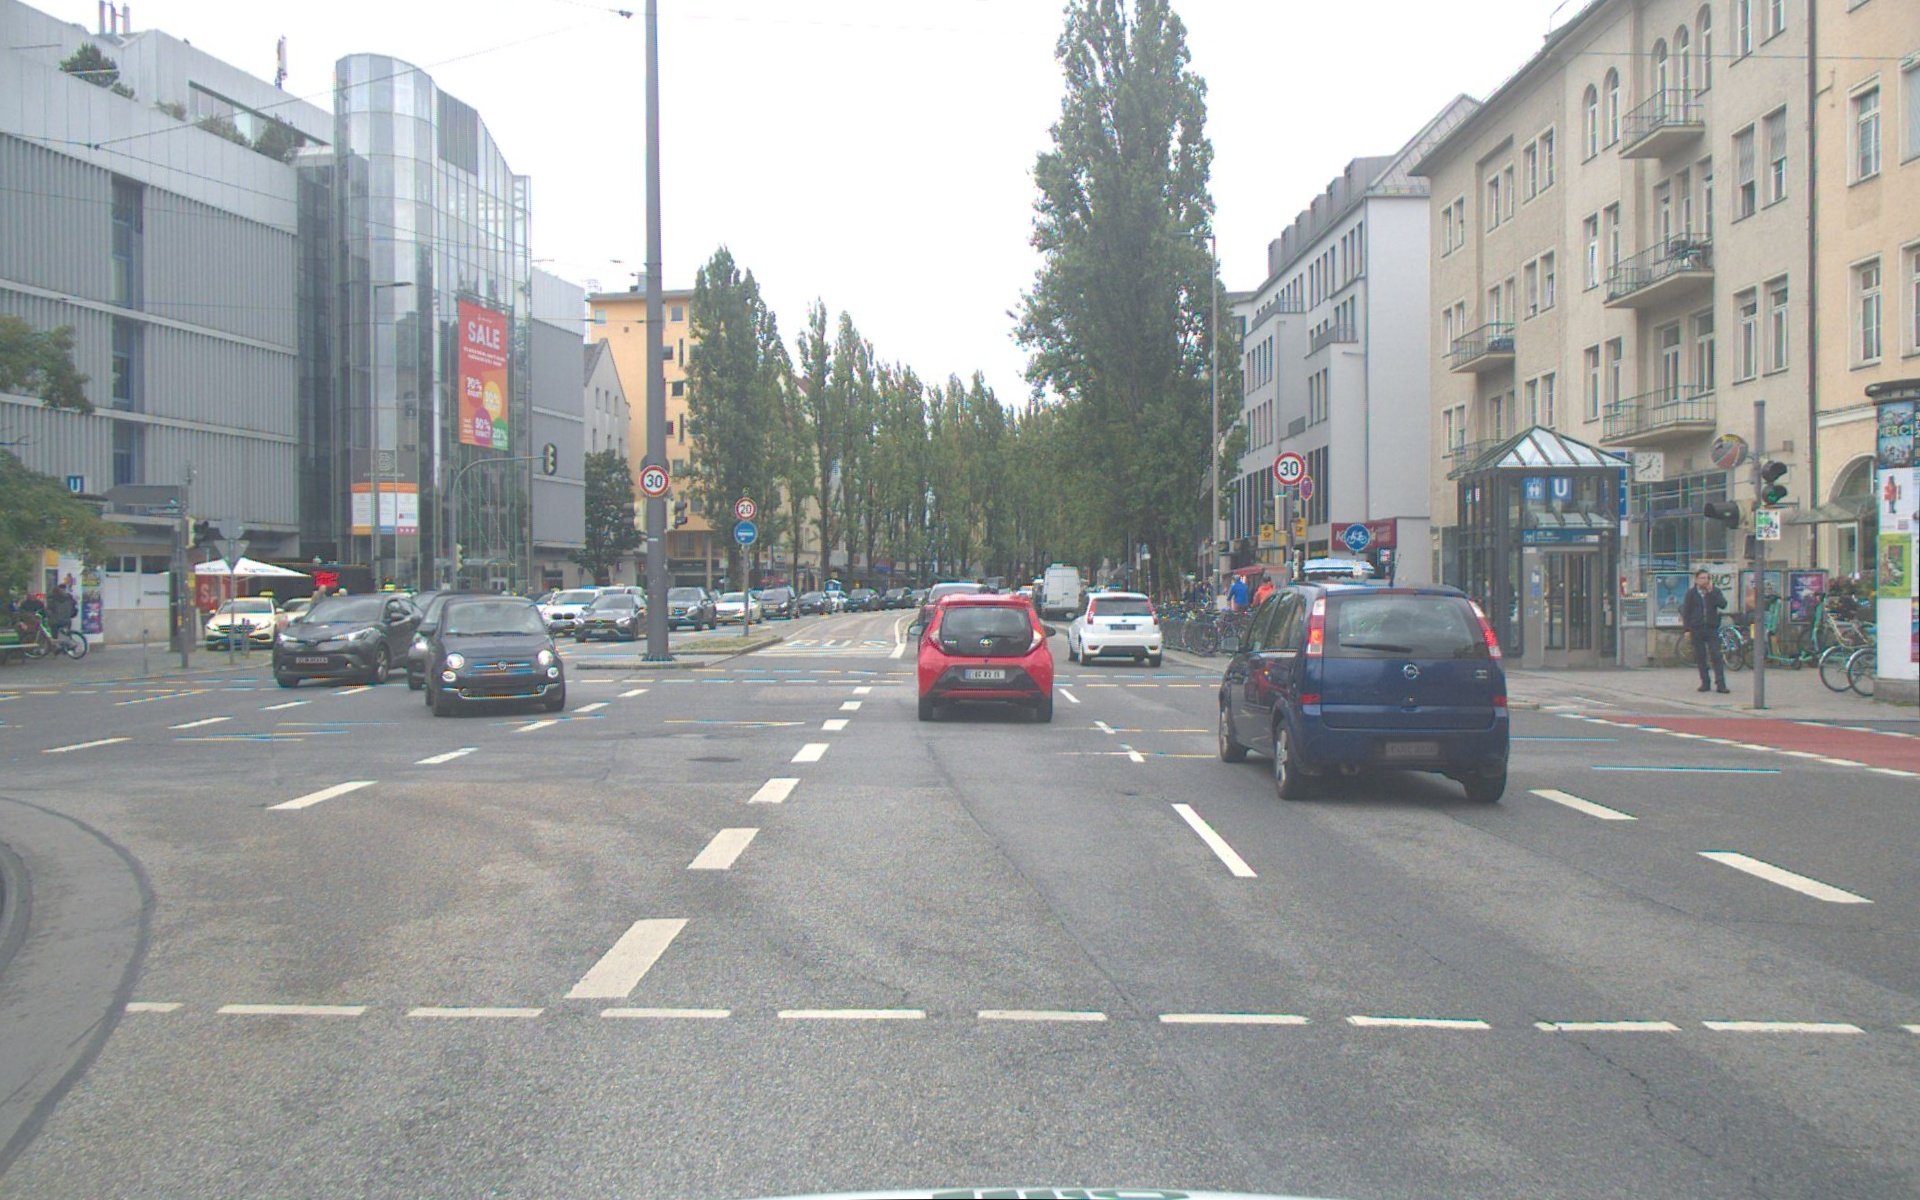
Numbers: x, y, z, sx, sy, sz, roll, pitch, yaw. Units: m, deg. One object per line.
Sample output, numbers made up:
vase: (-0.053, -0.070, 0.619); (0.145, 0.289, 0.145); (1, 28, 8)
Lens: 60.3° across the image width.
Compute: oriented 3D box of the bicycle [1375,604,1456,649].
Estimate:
bicycle: (10.379, 0.604, 37.701); (1.719, 0.981, 0.453); (-1, 0, -3)

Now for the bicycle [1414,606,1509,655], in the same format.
bicycle: (10.329, 0.628, 34.112); (1.801, 0.981, 0.508); (-1, 0, -3)

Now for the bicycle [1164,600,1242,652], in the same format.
bicycle: (5.696, 0.592, 38.750); (1.769, 1.178, 0.546); (0, 0, 37)

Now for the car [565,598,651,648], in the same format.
car: (-10.833, 0.672, 51.205); (1.954, 1.436, 4.165); (1, 1, -3)

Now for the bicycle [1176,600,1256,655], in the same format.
bicycle: (5.771, 0.607, 37.358); (1.773, 1.219, 0.555); (0, 0, 43)

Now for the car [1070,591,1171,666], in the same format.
car: (3.238, 0.549, 33.906); (1.665, 1.451, 3.496); (-1, 0, -1)

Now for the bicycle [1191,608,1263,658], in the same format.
bicycle: (5.786, 0.710, 35.843); (0.495, 1.046, 1.576); (-1, 0, -43)

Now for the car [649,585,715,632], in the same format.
car: (-10.641, 0.275, 63.573); (1.707, 1.699, 4.732); (-1, 1, 0)

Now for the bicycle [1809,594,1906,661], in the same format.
bicycle: (15.075, 0.449, 27.842); (0.485, 1.077, 1.864); (-1, 0, -5)

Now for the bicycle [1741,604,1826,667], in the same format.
bicycle: (13.834, 0.575, 27.829); (0.484, 0.992, 1.866); (-1, 0, -1)

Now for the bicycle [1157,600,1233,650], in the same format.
bicycle: (5.599, 0.586, 39.431); (1.769, 1.178, 0.546); (0, 0, 37)

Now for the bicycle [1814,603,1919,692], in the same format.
bicycle: (12.962, 0.663, 23.345); (1.536, 1.180, 0.525); (-1, 2, 2)

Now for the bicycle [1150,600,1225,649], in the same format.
bicycle: (5.617, 0.602, 40.902); (1.765, 1.178, 0.486); (0, 0, 29)

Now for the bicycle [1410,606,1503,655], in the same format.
bicycle: (10.388, 0.627, 34.645); (1.801, 0.981, 0.508); (-1, 0, -3)

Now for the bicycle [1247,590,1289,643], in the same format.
bicycle: (7.831, 0.403, 42.134); (0.601, 1.287, 2.519); (-1, 1, 0)

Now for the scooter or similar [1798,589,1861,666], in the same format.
scooter or similar: (14.506, 0.441, 27.617); (0.282, 1.249, 1.152); (-1, 0, -10)

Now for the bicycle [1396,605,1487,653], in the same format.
bicycle: (10.417, 0.621, 35.798); (1.801, 0.981, 0.508); (-1, 0, -3)

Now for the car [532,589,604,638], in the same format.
car: (-13.503, 0.430, 57.165); (1.664, 1.624, 3.999); (-1, 0, -2)

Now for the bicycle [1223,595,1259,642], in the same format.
bicycle: (8.152, 0.513, 48.042); (0.601, 1.287, 2.519); (-1, 1, 0)

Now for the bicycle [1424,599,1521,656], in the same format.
bicycle: (10.381, 0.552, 33.522); (1.801, 1.113, 0.508); (-1, 0, -3)

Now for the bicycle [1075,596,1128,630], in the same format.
bicycle: (5.000, 0.455, 58.428); (1.801, 1.156, 0.584); (0, 0, 35)

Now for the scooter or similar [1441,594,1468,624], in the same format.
scooter or similar: (16.378, 0.285, 54.803); (0.524, 0.960, 1.124); (-2, 0, -2)

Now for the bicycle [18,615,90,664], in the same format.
bicycle: (-21.502, 0.938, 39.262); (1.541, 1.131, 0.373); (0, 0, 3)

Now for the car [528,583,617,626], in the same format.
car: (-15.815, 0.161, 67.641); (1.951, 1.708, 4.187); (0, 0, 12)

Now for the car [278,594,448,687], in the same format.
car: (-10.599, 0.666, 29.678); (1.631, 1.535, 4.279); (-1, 0, -2)

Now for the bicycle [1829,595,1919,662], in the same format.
bicycle: (15.673, 0.466, 28.077); (0.486, 1.077, 1.858); (-1, 0, -16)

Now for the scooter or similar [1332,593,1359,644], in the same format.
scooter or similar: (9.370, 0.439, 40.172); (0.294, 1.196, 1.275); (-1, 0, 29)

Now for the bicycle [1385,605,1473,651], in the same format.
bicycle: (10.379, 0.615, 36.623); (1.801, 0.981, 0.508); (-1, 0, -3)

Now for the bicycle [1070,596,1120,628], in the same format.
bicycle: (4.970, 0.439, 61.157); (1.801, 1.156, 0.584); (0, 0, 35)

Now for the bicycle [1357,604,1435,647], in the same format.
bicycle: (10.390, 0.608, 39.428); (1.718, 0.981, 0.453); (-1, 0, 0)

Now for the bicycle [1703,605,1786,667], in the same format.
bicycle: (13.169, 0.587, 27.814); (0.484, 0.992, 1.866); (-1, 0, -1)

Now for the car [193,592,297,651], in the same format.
car: (-20.701, 0.584, 48.040); (1.959, 1.563, 4.400); (-2, 1, -13)

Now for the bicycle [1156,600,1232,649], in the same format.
bicycle: (5.692, 0.585, 40.243); (1.763, 1.178, 0.486); (0, 0, 25)

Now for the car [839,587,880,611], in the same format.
car: (-6.805, -0.072, 112.485); (1.951, 1.561, 4.591); (-1, 0, 8)

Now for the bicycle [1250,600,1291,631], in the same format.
bicycle: (10.042, 0.504, 53.525); (1.235, 0.980, 0.369); (-1, 0, 2)

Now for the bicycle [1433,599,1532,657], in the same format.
bicycle: (10.410, 0.556, 32.956); (1.801, 1.113, 0.508); (-1, 0, -3)

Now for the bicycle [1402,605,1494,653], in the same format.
bicycle: (10.398, 0.624, 35.239); (1.801, 0.981, 0.508); (-1, 0, -3)

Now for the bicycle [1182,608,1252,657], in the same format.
bicycle: (5.700, 0.701, 36.697); (0.495, 1.046, 1.576); (-1, 0, -43)

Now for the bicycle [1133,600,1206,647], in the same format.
bicycle: (5.428, 0.595, 42.931); (1.768, 1.178, 0.650); (0, 0, 35)

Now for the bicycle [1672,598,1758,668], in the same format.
bicycle: (12.677, 0.538, 27.825); (0.555, 1.127, 1.866); (-1, 0, -1)

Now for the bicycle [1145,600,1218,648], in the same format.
bicycle: (5.551, 0.595, 41.556); (1.765, 1.178, 0.486); (0, 0, 30)

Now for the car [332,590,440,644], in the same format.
car: (-17.994, 0.507, 52.042); (1.862, 1.570, 4.392); (-1, 1, 0)
